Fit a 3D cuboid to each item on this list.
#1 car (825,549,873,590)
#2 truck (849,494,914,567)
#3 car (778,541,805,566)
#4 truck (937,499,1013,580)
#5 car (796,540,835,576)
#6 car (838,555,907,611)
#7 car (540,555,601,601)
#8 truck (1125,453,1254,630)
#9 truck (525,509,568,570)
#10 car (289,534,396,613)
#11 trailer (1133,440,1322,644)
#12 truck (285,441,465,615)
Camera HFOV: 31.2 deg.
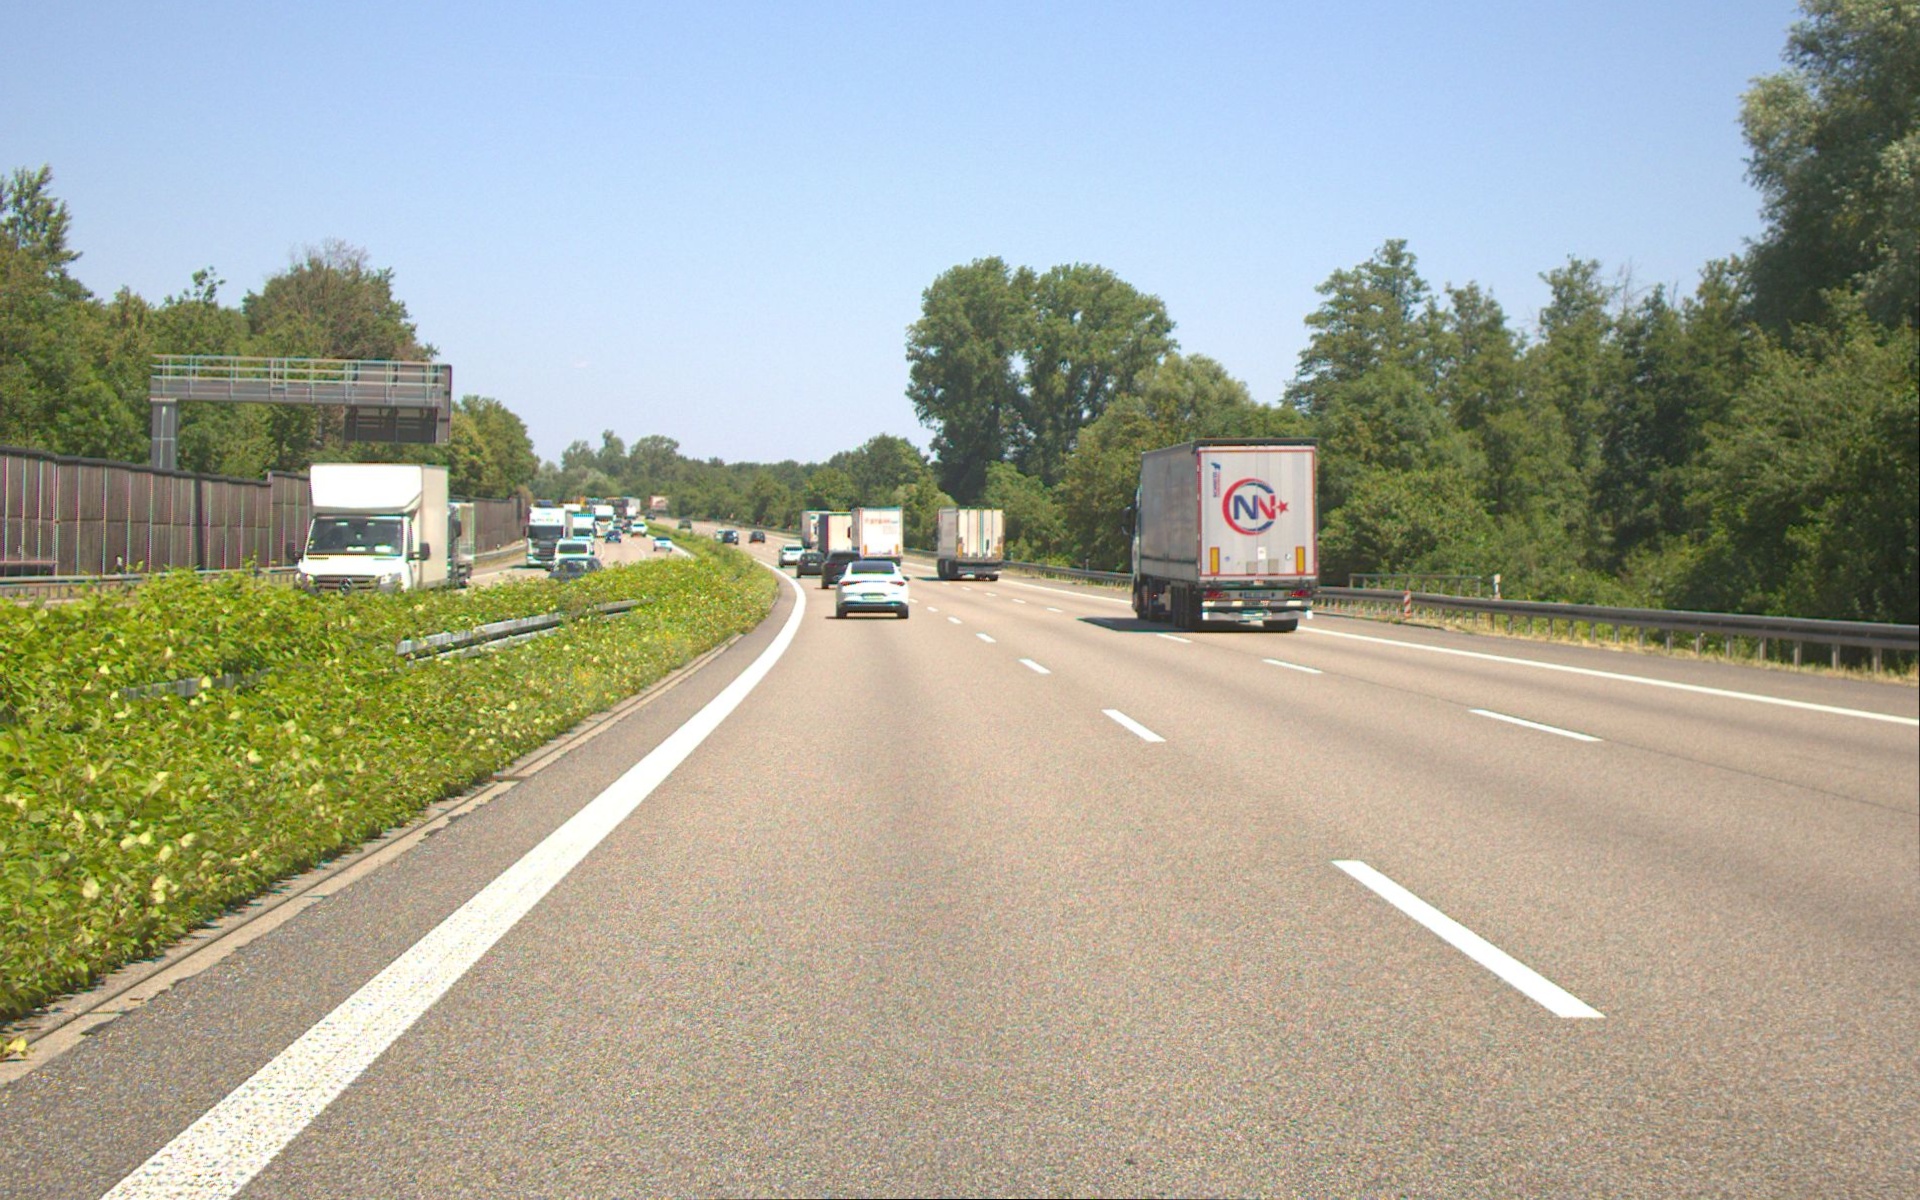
[{"bbox_3d":[-4.982,-1.370,153.531,1.993,1.766,4.001,1,1,-4],"label":"car"},{"bbox_3d":[-4.825,-4.228,209.756,3.359,4.296,10.830,1,1,-4],"label":"truck"},{"bbox_3d":[-12.121,-3.345,247.378,1.723,1.777,4.001,0,1,-5],"label":"car"},{"bbox_3d":[0.755,-3.304,188.565,3.492,4.296,10.990,1,1,-3],"label":"truck"},{"bbox_3d":[-8.194,-2.395,194.755,1.993,2.007,4.001,0,1,-5],"label":"car"},{"bbox_3d":[-2.245,-0.450,87.579,1.715,1.365,3.375,1,1,-2],"label":"car"},{"bbox_3d":[-12.075,-0.704,106.722,1.625,1.385,3.914,1,1,-3],"label":"car"},{"bbox_3d":[5.676,-1.458,85.932,2.605,4.272,5.436,1,1,-2],"label":"truck"},{"bbox_3d":[-27.897,-4.086,232.117,2.519,4.052,6.372,1,1,-4],"label":"truck"},{"bbox_3d":[-14.897,-0.653,83.136,1.867,1.814,4.817,1,1,-2],"label":"car"},{"bbox_3d":[5.968,-1.321,79.173,2.624,4.246,14.062,1,1,-2],"label":"trailer"},{"bbox_3d":[-11.124,-1.364,66.066,2.193,3.104,8.535,1,1,-2],"label":"truck"}]
